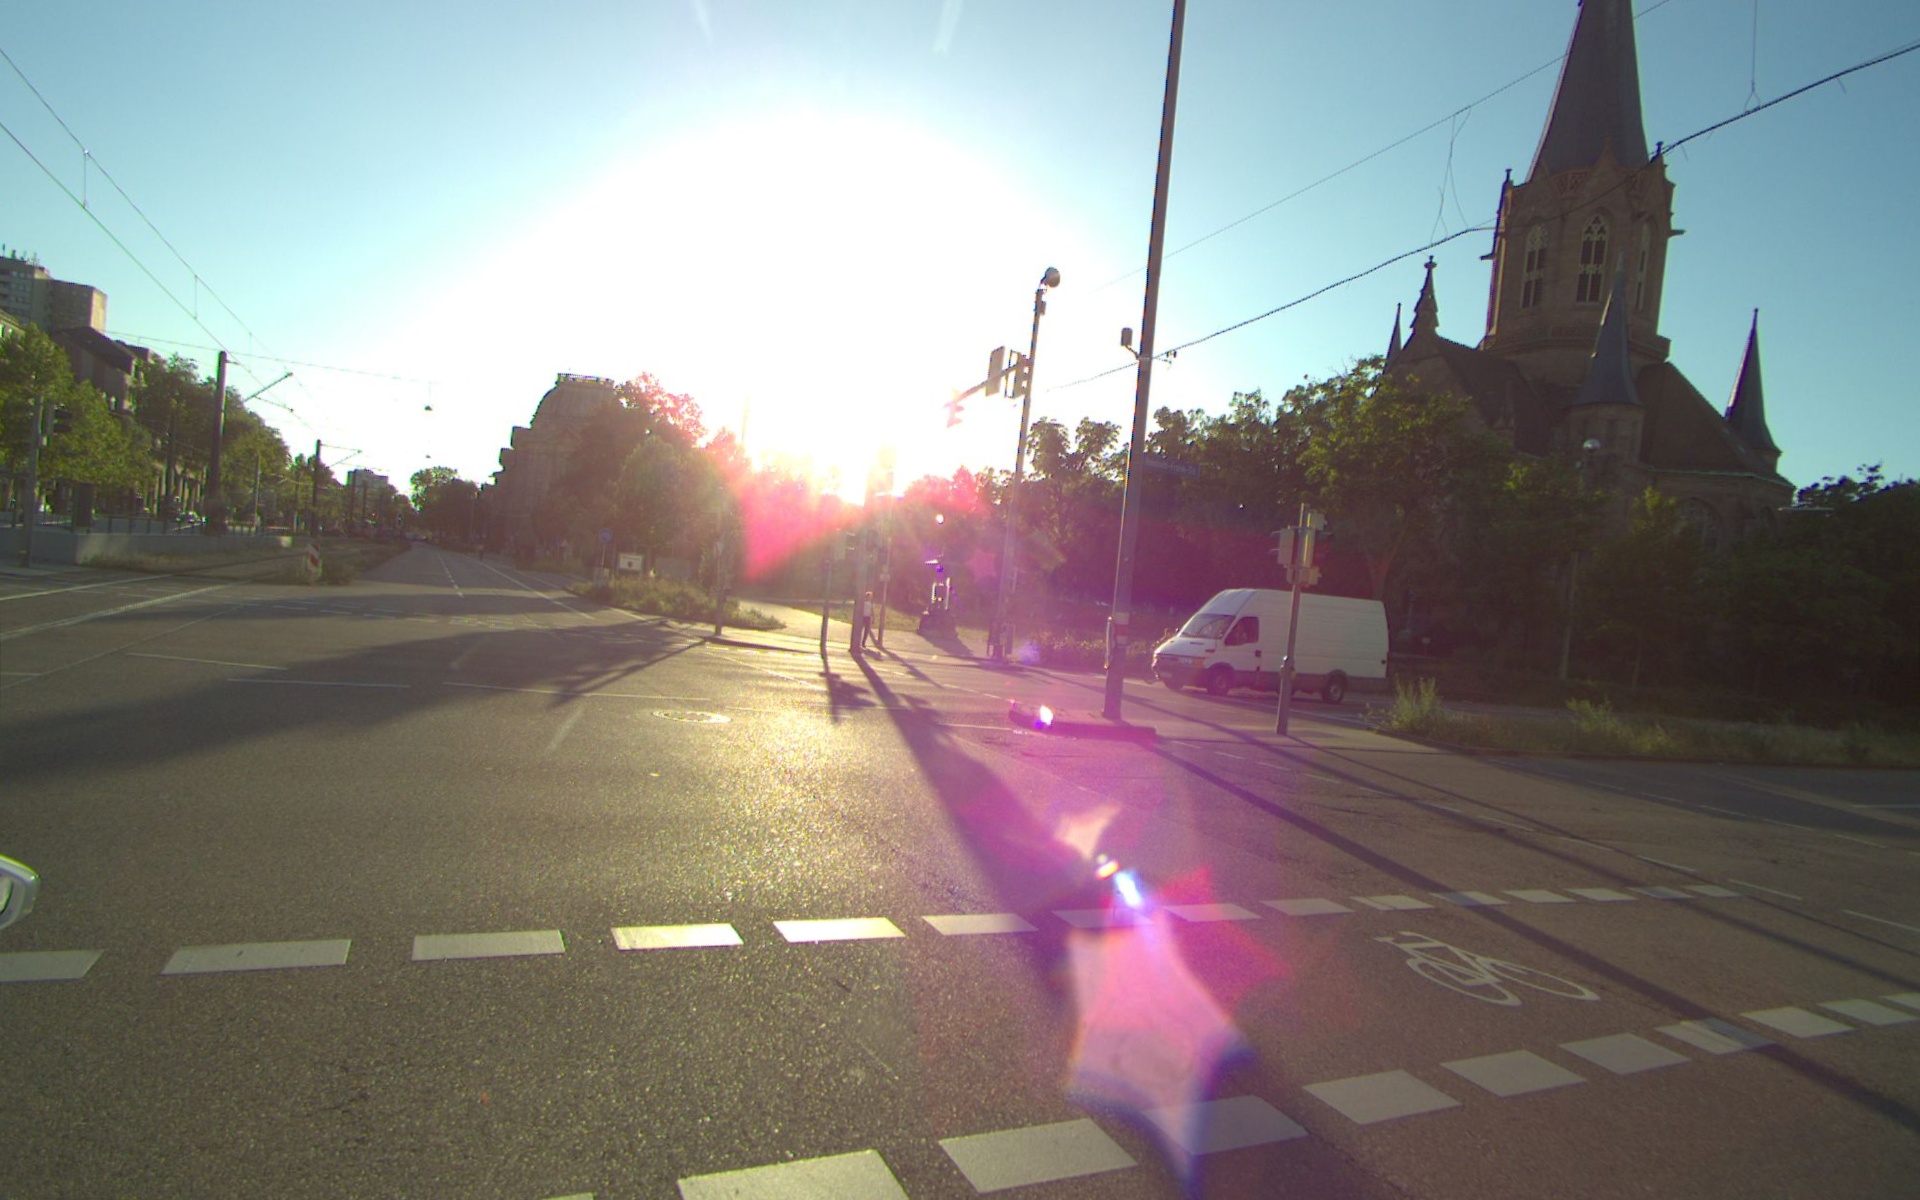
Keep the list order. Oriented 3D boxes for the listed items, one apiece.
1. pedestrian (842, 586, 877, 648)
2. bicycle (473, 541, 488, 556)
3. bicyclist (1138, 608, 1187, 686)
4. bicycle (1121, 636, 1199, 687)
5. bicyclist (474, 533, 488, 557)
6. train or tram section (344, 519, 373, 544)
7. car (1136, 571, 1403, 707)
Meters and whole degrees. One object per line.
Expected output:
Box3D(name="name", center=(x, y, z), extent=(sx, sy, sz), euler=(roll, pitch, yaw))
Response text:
Box3D(name="pedestrian", center=(-3.163, 0.521, 31.646), extent=(0.822, 1.826, 0.808), euler=(5, 1, -13))
Box3D(name="bicycle", center=(-48.604, -5.205, 101.970), extent=(1.088, 1.416, 2.811), euler=(6, 1, -28))
Box3D(name="bicyclist", center=(5.594, 1.303, 27.781), extent=(0.889, 2.040, 0.718), euler=(5, 2, -23))
Box3D(name="bicycle", center=(5.520, 1.690, 27.773), extent=(1.947, 1.191, 0.730), euler=(6, 1, -23))
Box3D(name="bicyclist", center=(-48.554, -5.616, 101.964), extent=(1.073, 2.305, 0.979), euler=(6, 1, -28))
Box3D(name="train or tram section", center=(-113.083, -12.891, 189.046), extent=(4.354, 3.899, 11.312), euler=(5, 1, -32))
Box3D(name="car", center=(8.182, 1.067, 26.343), extent=(6.947, 2.864, 2.079), euler=(6, 1, -27))
